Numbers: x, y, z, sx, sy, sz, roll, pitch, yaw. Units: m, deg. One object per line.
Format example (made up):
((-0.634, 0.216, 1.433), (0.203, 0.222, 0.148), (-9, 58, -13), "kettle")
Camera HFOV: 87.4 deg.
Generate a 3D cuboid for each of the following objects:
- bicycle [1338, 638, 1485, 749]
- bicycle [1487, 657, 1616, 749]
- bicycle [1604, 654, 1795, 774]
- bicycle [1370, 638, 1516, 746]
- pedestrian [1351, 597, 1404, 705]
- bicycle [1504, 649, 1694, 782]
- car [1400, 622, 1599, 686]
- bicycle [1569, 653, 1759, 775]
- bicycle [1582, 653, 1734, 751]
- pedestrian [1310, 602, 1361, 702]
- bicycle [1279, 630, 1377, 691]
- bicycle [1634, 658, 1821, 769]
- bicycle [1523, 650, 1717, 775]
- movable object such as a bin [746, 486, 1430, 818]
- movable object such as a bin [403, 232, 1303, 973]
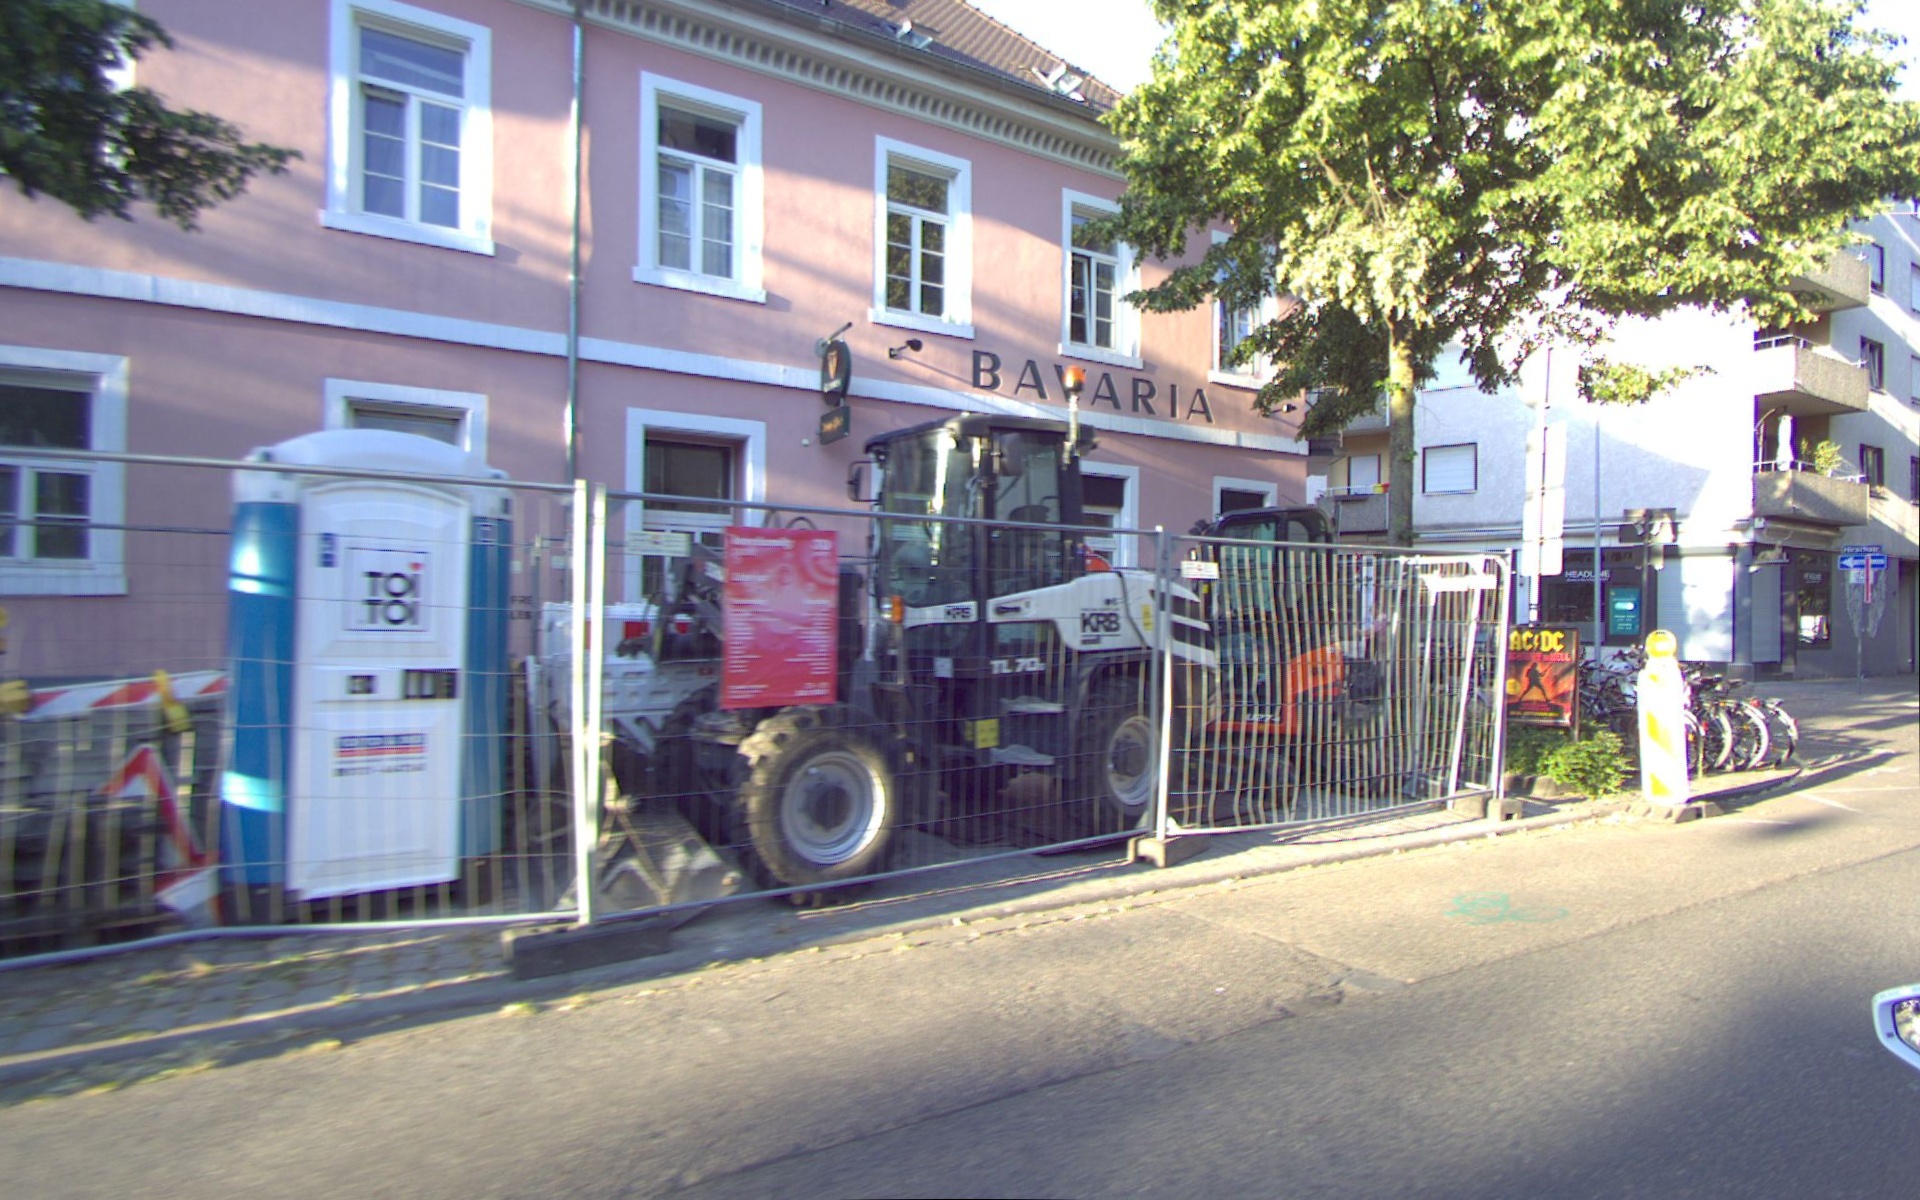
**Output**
((5.349, 1.071, 12.006), (0.439, 1.164, 1.677), (2, 0, -26), "bicycle")
((7.256, 1.236, 12.377), (0.439, 0.993, 1.320), (2, 0, -26), "bicycle")
((8.106, 1.212, 11.105), (0.438, 1.093, 1.679), (2, 1, -21), "bicycle")
((5.898, 1.090, 12.361), (0.439, 1.164, 1.677), (2, 0, -26), "bicycle")
((6.986, 0.843, 16.794), (0.715, 1.760, 0.500), (3, -2, -40), "pedestrian")
((6.352, 1.125, 10.073), (1.521, 1.131, 0.444), (3, 1, 28), "bicycle")
((13.503, 1.295, 25.235), (4.142, 1.398, 1.992), (0, -1, 38), "car")
((7.571, 1.190, 10.894), (0.438, 1.093, 1.679), (2, 1, -21), "bicycle")
((8.732, 1.250, 12.616), (0.466, 1.073, 1.477), (2, 0, -35), "bicycle")
((6.476, 0.897, 17.316), (0.715, 1.672, 0.500), (3, -2, -40), "pedestrian")
((7.864, 1.281, 21.501), (1.906, 1.208, 0.585), (1, -2, 27), "bicycle")
((8.716, 1.261, 11.496), (0.438, 1.035, 1.679), (2, 1, -21), "bicycle")
((6.992, 1.153, 10.735), (0.439, 1.093, 1.674), (2, 1, -30), "bicycle")
((1.108, 0.394, 9.449), (5.638, 2.528, 2.315), (0, -1, 14), "movable object such as a bin")
((-0.607, 0.059, 6.551), (5.241, 3.008, 2.612), (1, -1, -30), "movable object such as a bin")
